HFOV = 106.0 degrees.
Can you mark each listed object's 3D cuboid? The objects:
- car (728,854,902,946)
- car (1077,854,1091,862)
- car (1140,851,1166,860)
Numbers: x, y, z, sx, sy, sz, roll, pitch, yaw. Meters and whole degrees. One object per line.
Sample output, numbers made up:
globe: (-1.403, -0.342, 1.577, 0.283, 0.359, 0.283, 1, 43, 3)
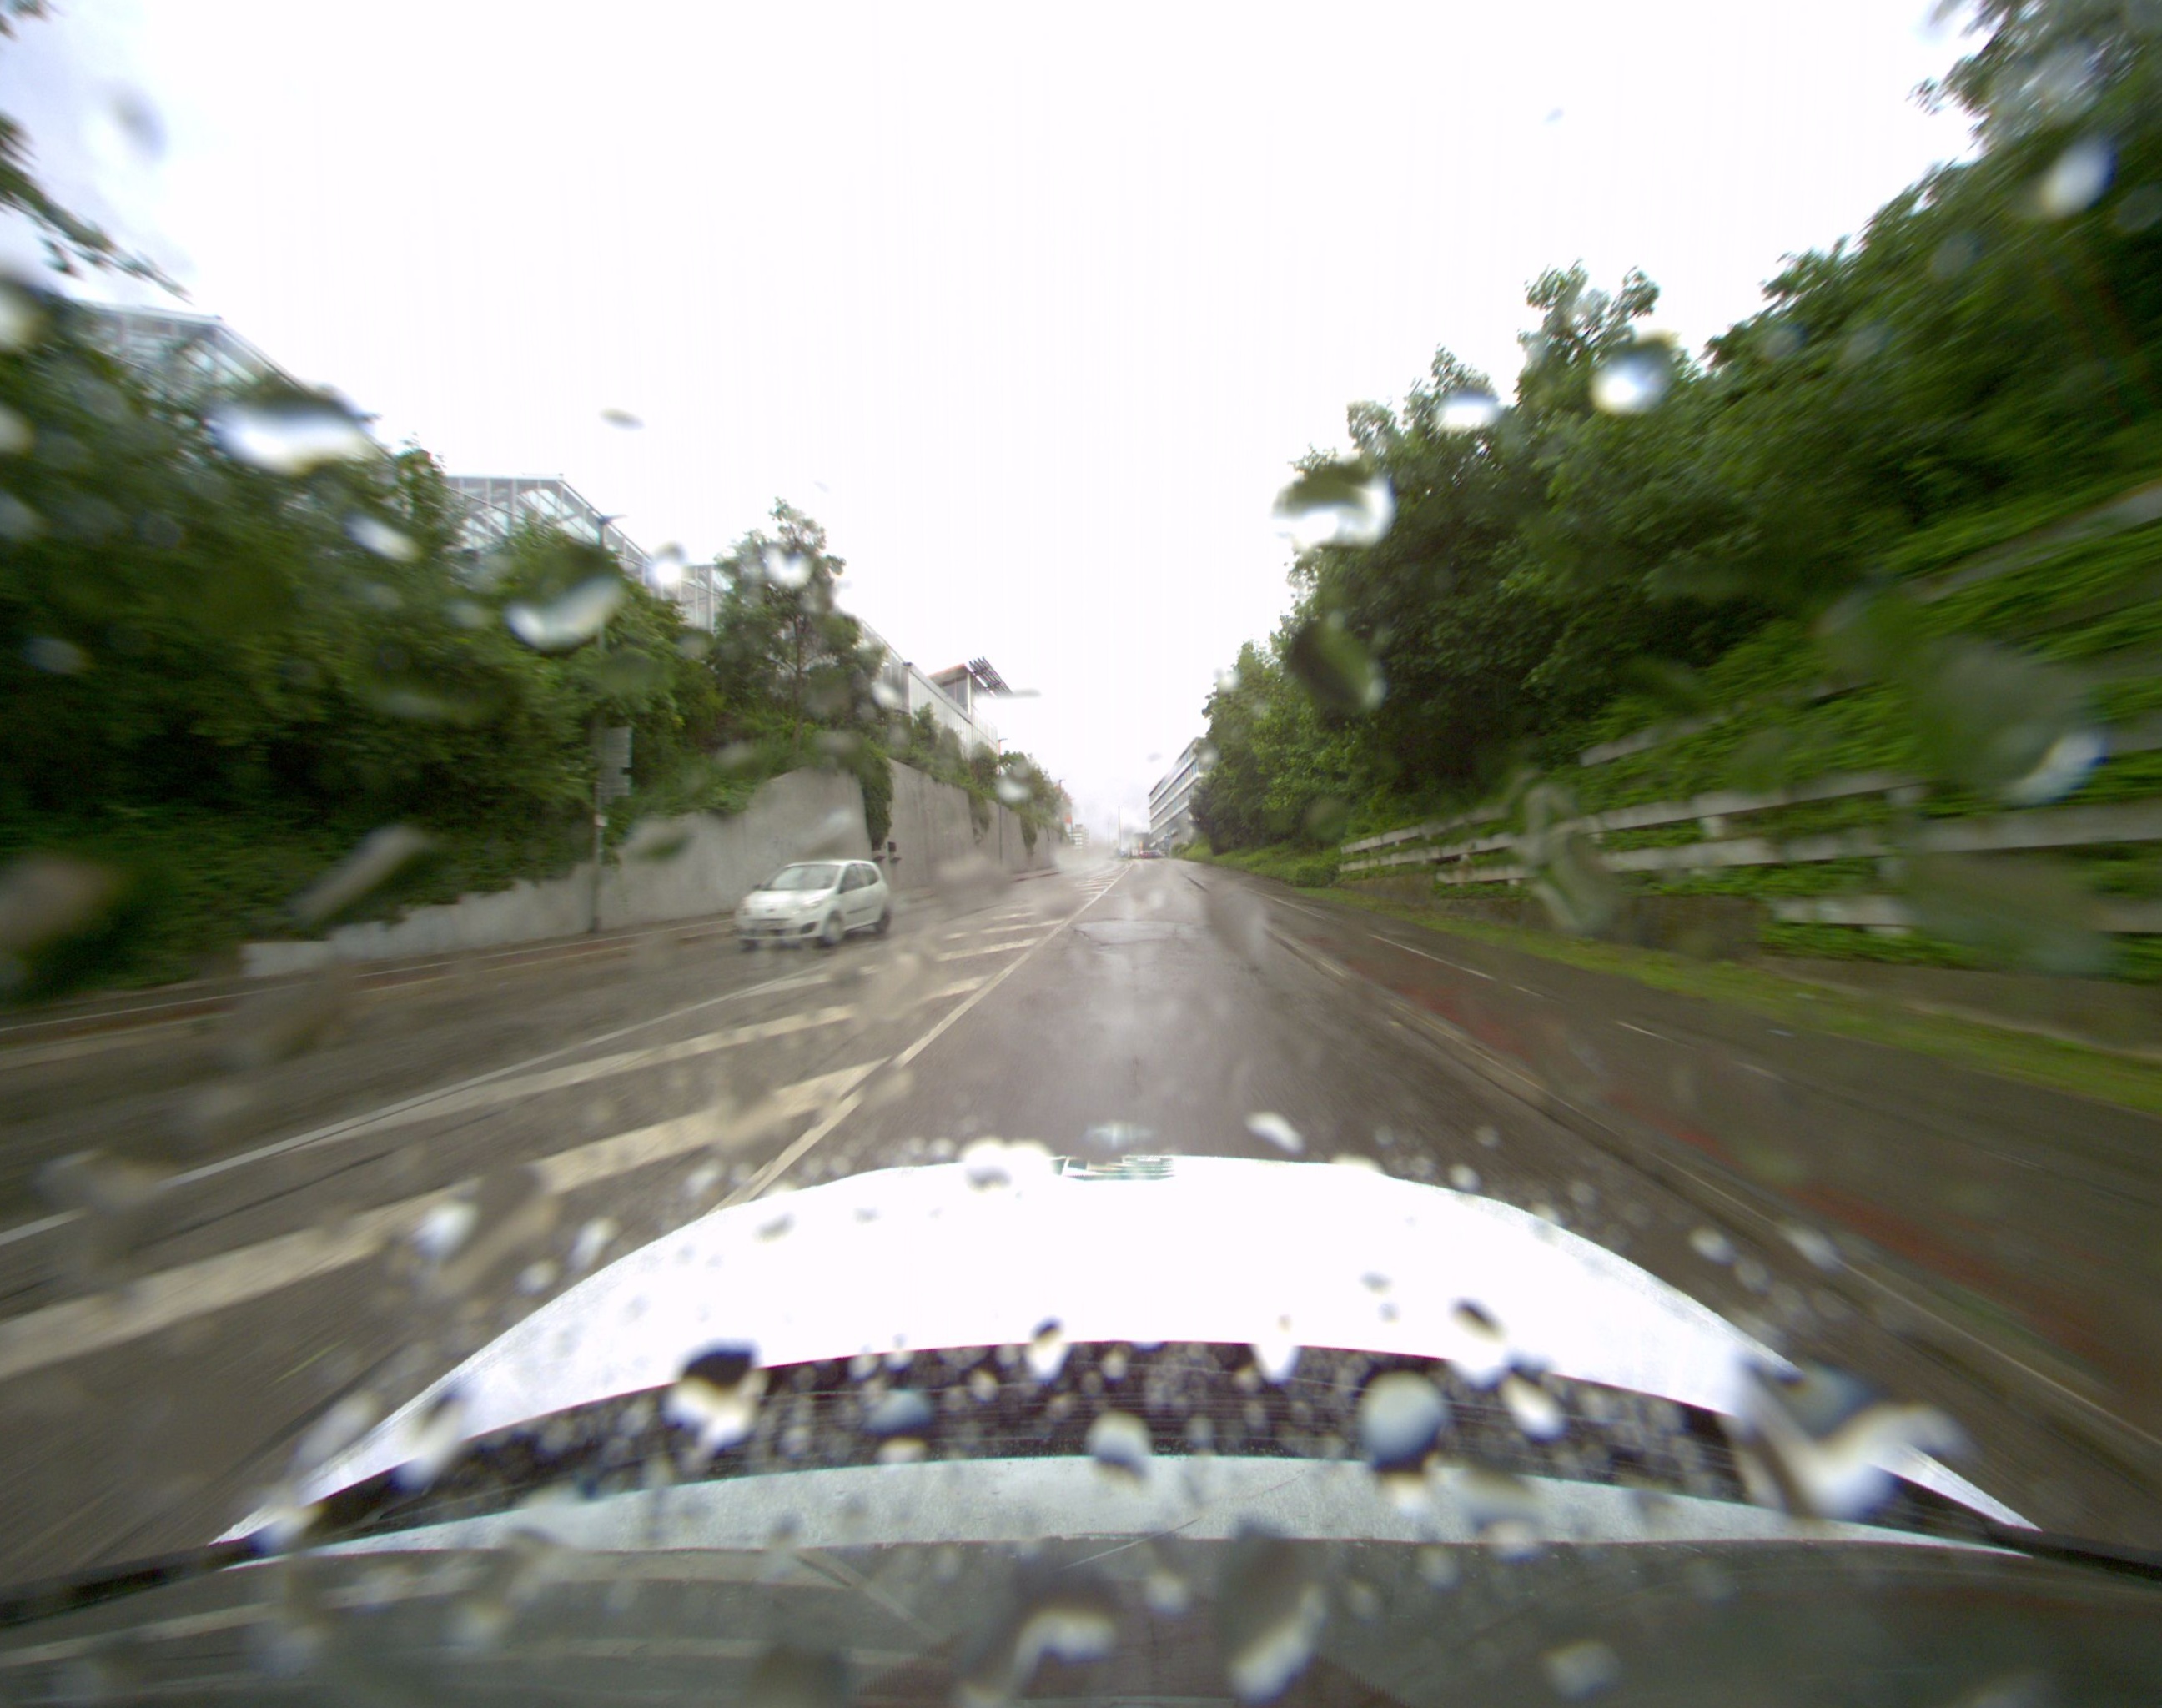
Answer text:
car: (-4.722, 0.747, 15.038, 1.504, 1.448, 3.825, -1, 0, 8)
car: (0.507, 0.609, 142.177, 1.641, 1.362, 4.234, 1, 0, -11)
car: (12.185, 0.250, 138.186, 4.173, 1.410, 1.806, -1, -3, 12)
